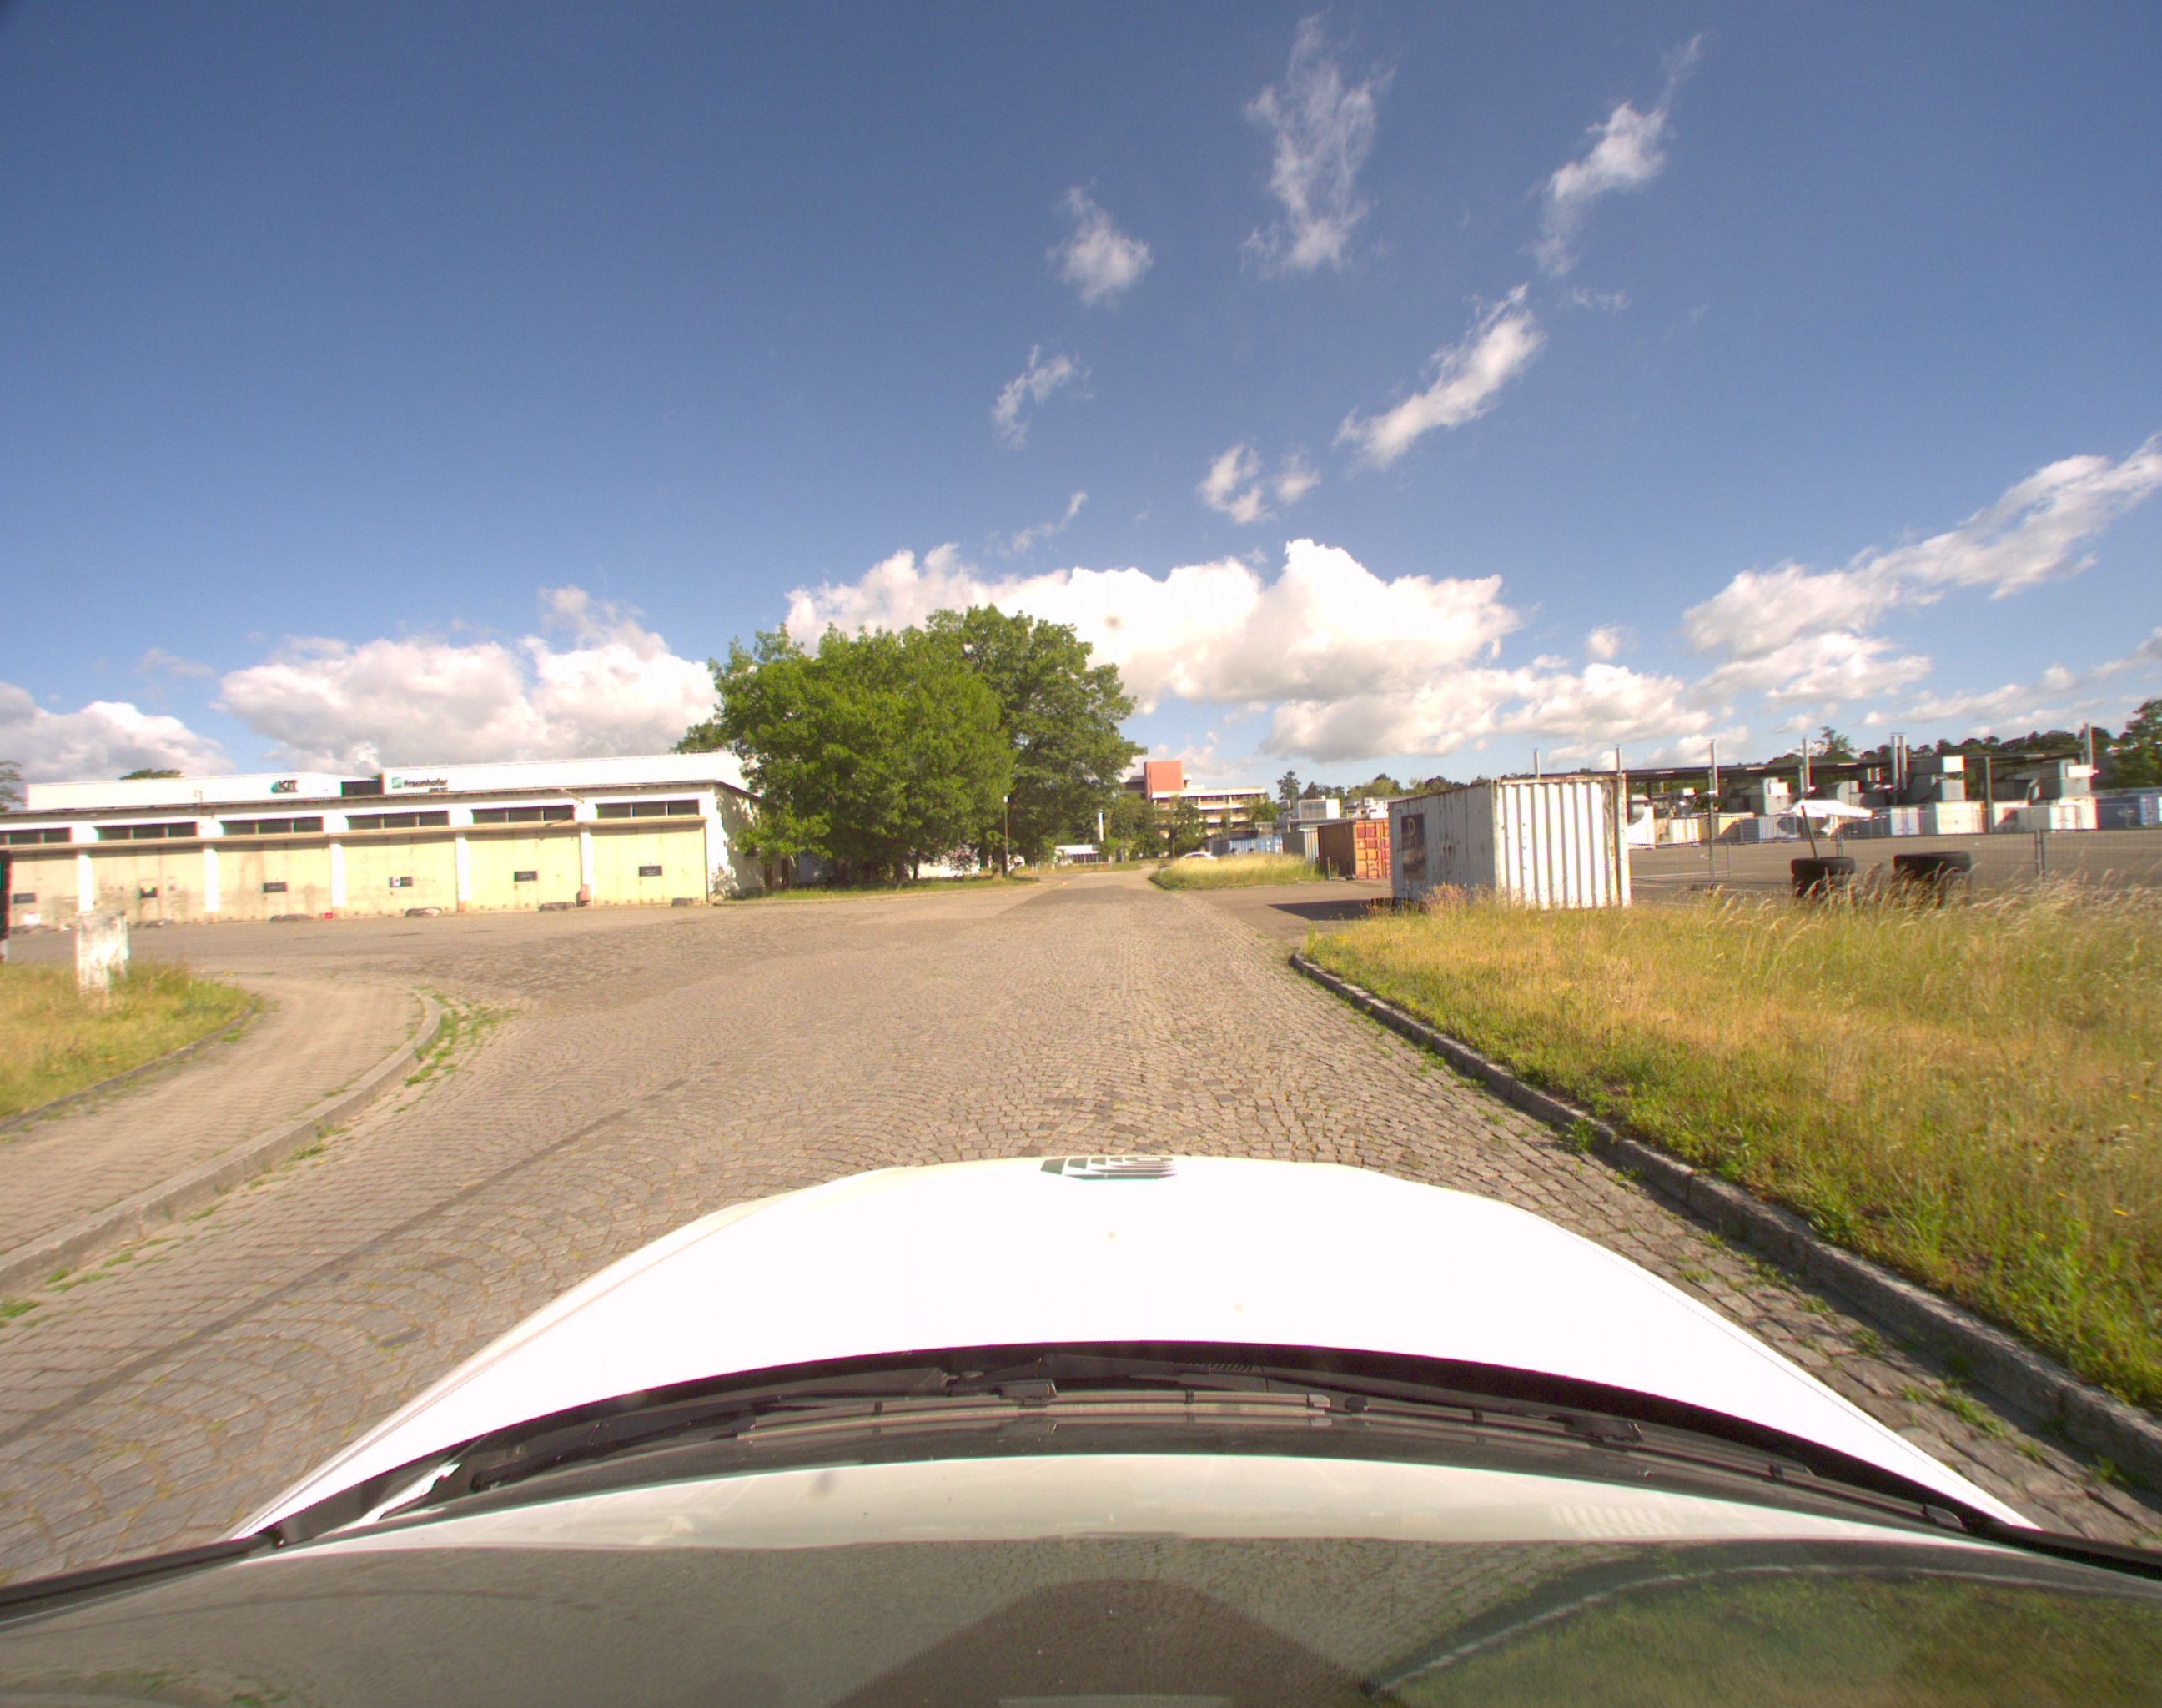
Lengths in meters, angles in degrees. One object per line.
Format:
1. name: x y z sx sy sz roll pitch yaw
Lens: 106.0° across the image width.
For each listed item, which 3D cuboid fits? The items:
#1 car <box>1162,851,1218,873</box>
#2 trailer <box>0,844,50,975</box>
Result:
1. car: 9.208 0.647 68.958 4.489 1.647 2.000 -3 0 0
2. trailer: -20.073 1.012 12.596 2.121 2.298 4.675 -3 0 3
